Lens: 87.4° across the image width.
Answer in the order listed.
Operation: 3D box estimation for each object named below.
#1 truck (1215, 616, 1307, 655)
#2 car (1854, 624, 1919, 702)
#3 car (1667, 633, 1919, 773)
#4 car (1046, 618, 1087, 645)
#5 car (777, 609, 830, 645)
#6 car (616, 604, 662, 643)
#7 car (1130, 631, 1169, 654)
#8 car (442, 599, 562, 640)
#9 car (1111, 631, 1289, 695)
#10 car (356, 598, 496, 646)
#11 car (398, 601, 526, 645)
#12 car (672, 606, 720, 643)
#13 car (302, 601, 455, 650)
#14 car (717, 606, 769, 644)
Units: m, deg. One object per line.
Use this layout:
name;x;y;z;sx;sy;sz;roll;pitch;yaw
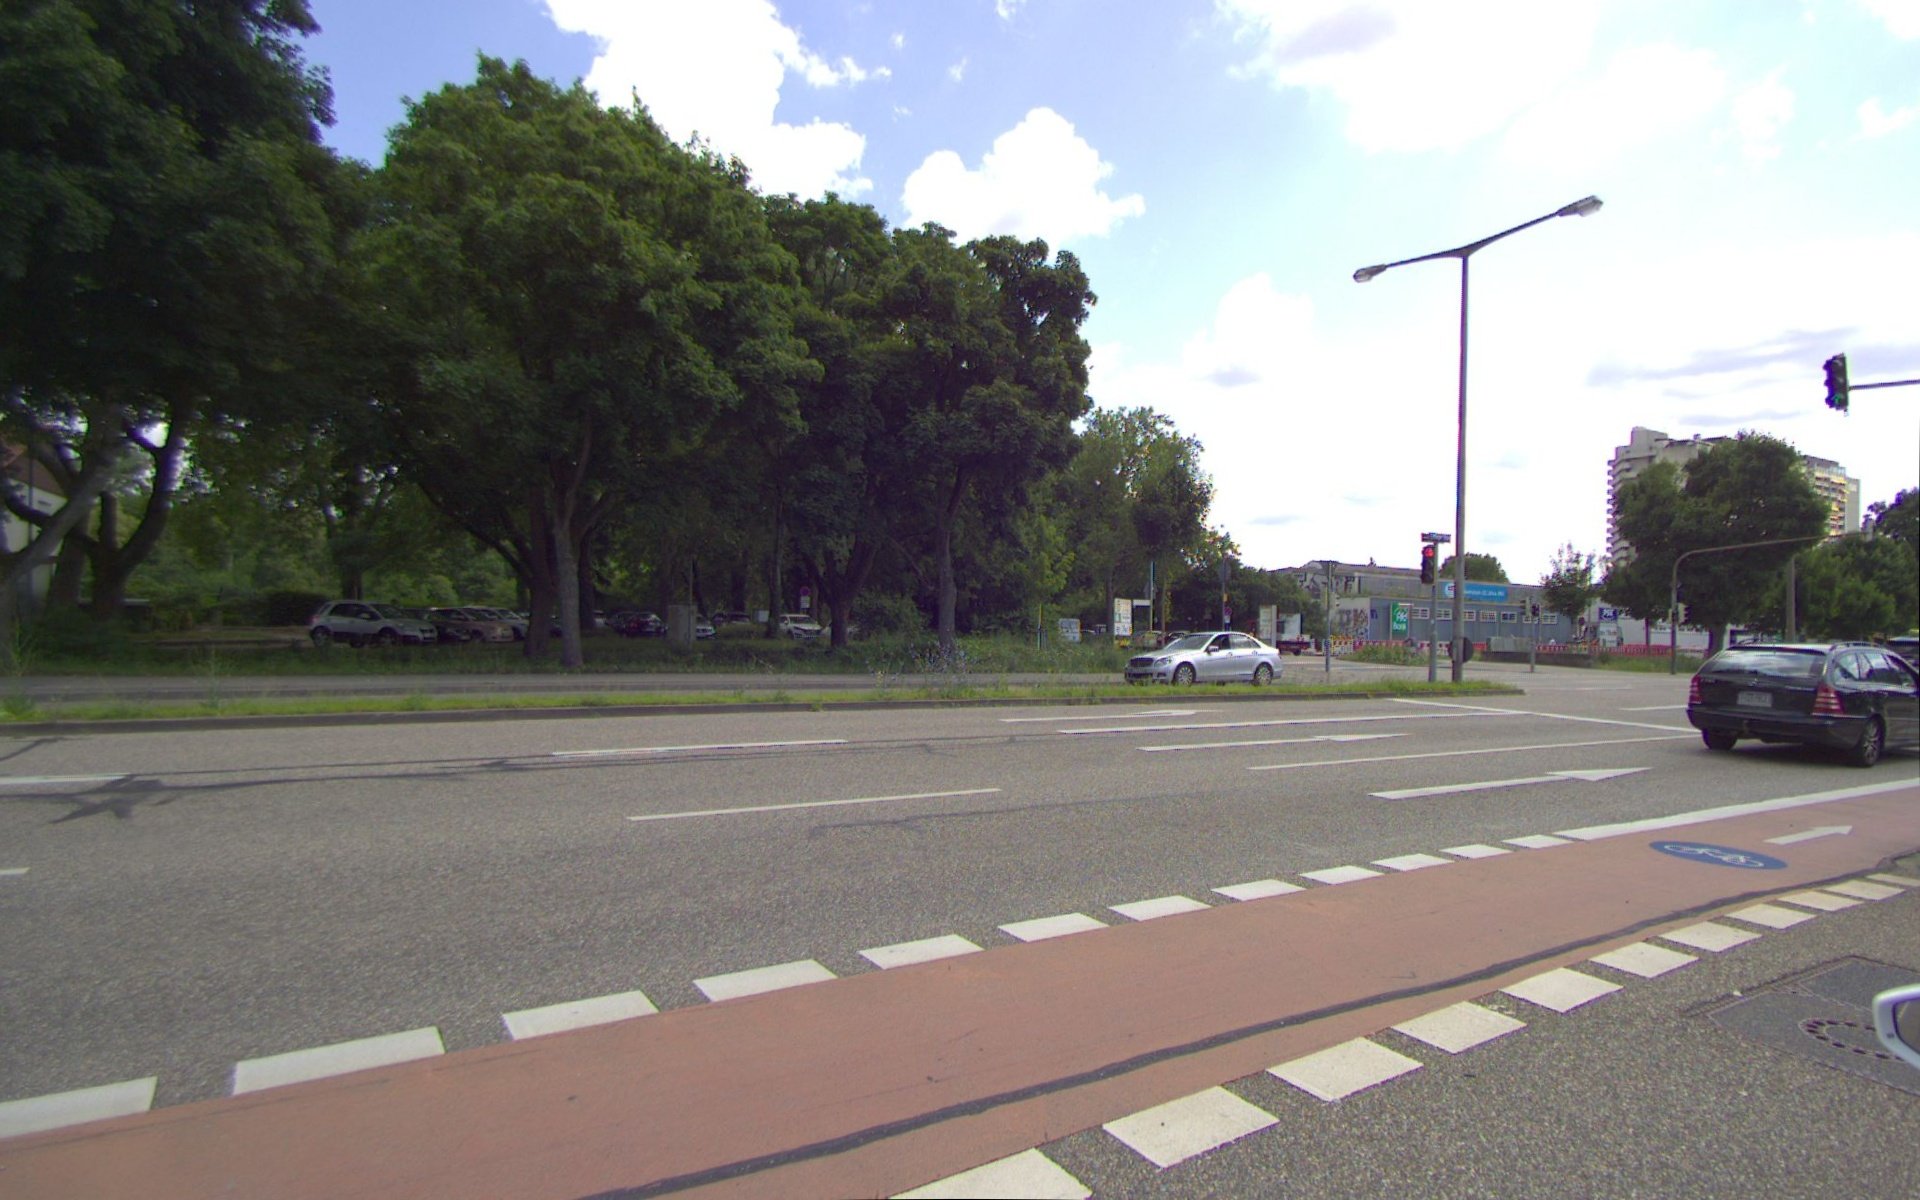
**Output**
truck;20.234;2.372;68.019;2.986;2.471;6.971;1;-1;-12
car;22.791;1.470;23.220;4.286;1.690;1.778;2;-1;-28
car;11.237;1.255;13.077;4.384;1.485;1.745;3;-1;-32
car;7.724;2.290;73.061;1.904;1.817;3.611;2;-1;-12
car;-8.215;1.403;52.518;2.044;1.748;4.111;2;-2;-18
car;-15.280;1.094;47.727;1.792;1.750;4.107;2;-1;-21
car;16.219;3.649;86.228;1.683;1.810;3.988;2;-1;-15
car;-18.658;0.818;40.985;3.941;1.565;2.001;1;-1;6
car;6.096;1.565;25.351;4.446;1.451;1.790;2;-2;-32
car;-19.129;0.806;36.072;3.941;1.608;2.001;1;-1;6
car;-19.039;0.882;38.505;3.941;1.608;2.001;-1;-2;6
car;-13.027;1.195;49.410;1.792;1.732;4.107;2;-1;-21
car;-19.286;0.840;33.440;3.941;1.503;2.001;1;-1;6
car;-10.895;1.250;50.245;2.014;1.748;4.559;2;-2;-18
